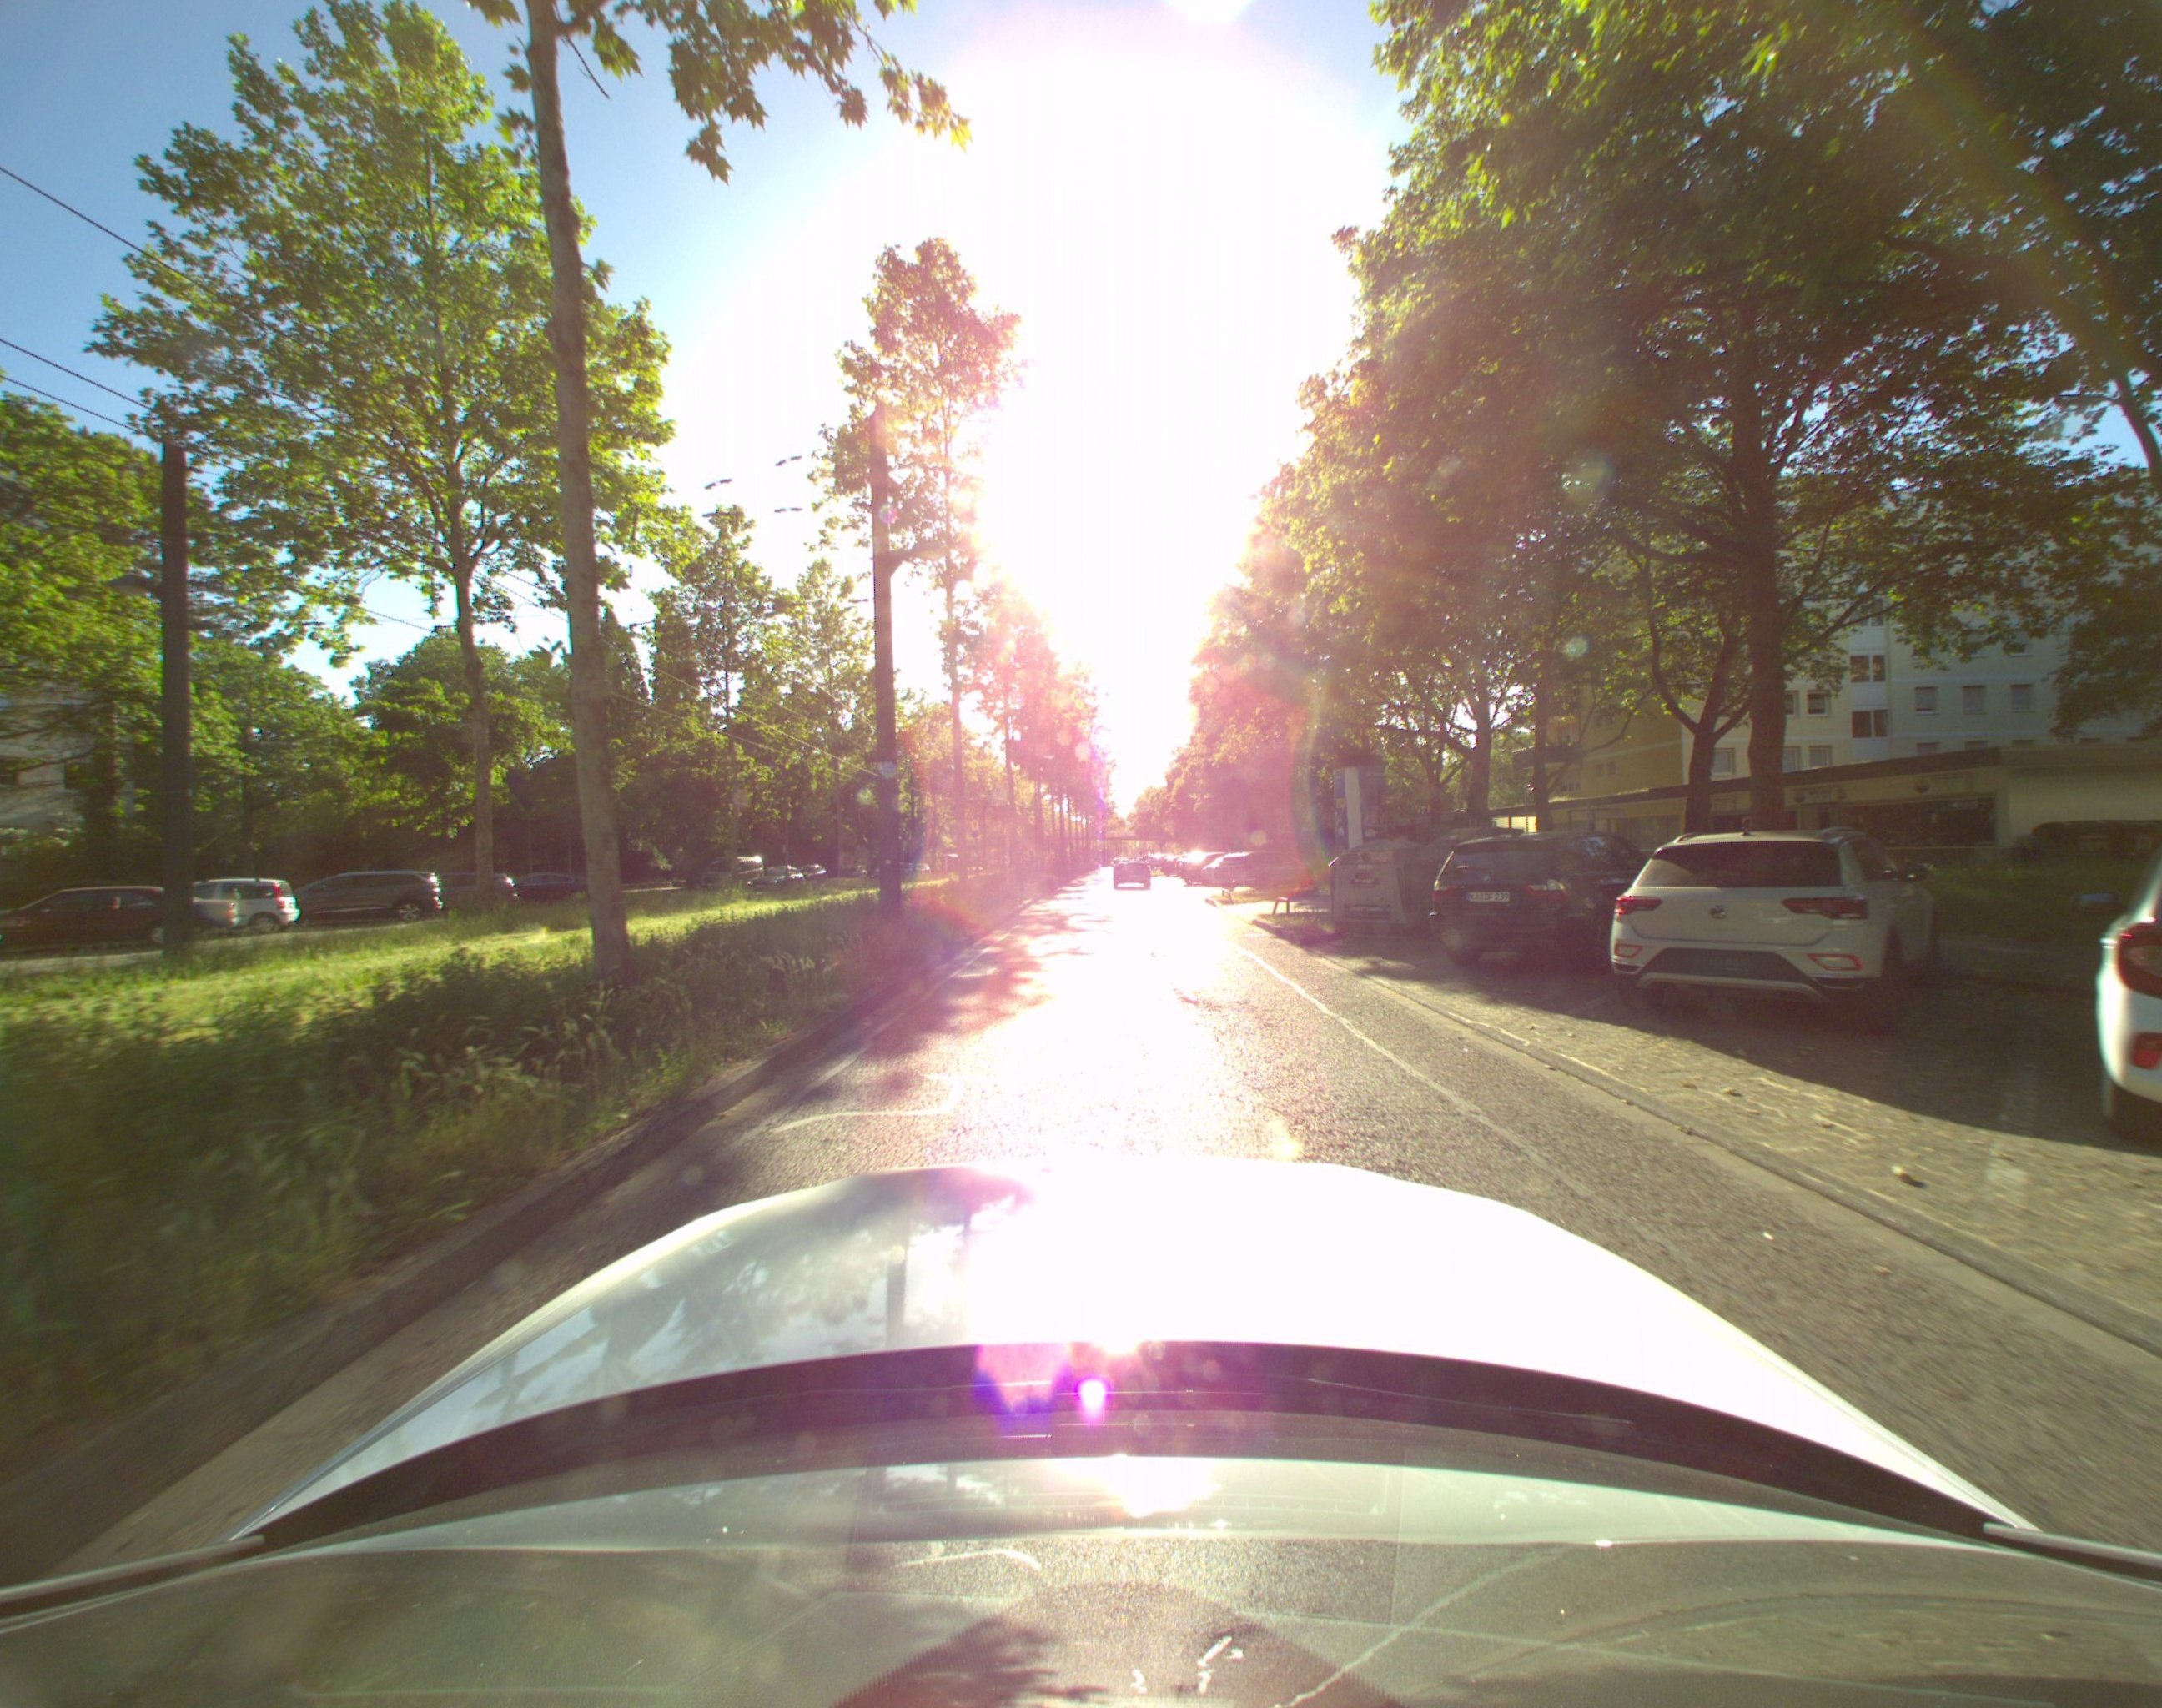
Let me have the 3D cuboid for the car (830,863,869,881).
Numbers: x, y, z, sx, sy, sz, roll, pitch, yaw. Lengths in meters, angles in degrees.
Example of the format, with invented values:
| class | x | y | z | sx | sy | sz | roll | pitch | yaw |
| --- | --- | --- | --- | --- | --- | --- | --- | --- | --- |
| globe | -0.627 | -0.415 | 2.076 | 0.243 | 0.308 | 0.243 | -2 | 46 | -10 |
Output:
| class | x | y | z | sx | sy | sz | roll | pitch | yaw |
| --- | --- | --- | --- | --- | --- | --- | --- | --- | --- |
| car | -20.206 | 1.580 | 71.156 | 1.985 | 1.453 | 4.004 | 1 | 0 | 4 |

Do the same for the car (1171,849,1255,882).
| class | x | y | z | sx | sy | sz | roll | pitch | yaw |
| --- | --- | --- | --- | --- | --- | --- | --- | --- | --- |
| car | 6.742 | 0.558 | 41.367 | 4.353 | 1.424 | 1.834 | -3 | 0 | -42 |

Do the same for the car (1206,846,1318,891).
| class | x | y | z | sx | sy | sz | roll | pitch | yaw |
| --- | --- | --- | --- | --- | --- | --- | --- | --- | --- |
| car | 6.916 | 0.535 | 30.882 | 4.519 | 1.443 | 1.834 | -3 | 0 | -42 |

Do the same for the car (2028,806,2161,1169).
| class | x | y | z | sx | sy | sz | roll | pitch | yaw |
| --- | --- | --- | --- | --- | --- | --- | --- | --- | --- |
| car | 6.661 | 0.508 | 4.519 | 4.107 | 1.582 | 1.760 | -3 | 0 | -41 |

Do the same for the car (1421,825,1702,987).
| class | x | y | z | sx | sy | sz | roll | pitch | yaw |
| --- | --- | --- | --- | --- | --- | --- | --- | --- | --- |
| car | 6.386 | 0.514 | 10.632 | 4.341 | 1.717 | 1.617 | -2 | 0 | -37 |

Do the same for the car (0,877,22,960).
| class | x | y | z | sx | sy | sz | roll | pitch | yaw |
| --- | --- | --- | --- | --- | --- | --- | --- | --- | --- |
| car | -23.648 | 1.363 | 15.471 | 4.000 | 1.675 | 1.766 | -2 | 0 | -41 |

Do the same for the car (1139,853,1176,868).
| class | x | y | z | sx | sy | sz | roll | pitch | yaw |
| --- | --- | --- | --- | --- | --- | --- | --- | --- | --- |
| car | 9.437 | 0.806 | 100.318 | 4.649 | 1.768 | 1.835 | 0 | -1 | -41 |

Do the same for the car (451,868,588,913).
| class | x | y | z | sx | sy | sz | roll | pitch | yaw |
| --- | --- | --- | --- | --- | --- | --- | --- | --- | --- |
| car | -23.250 | 1.472 | 33.827 | 4.511 | 1.568 | 1.774 | -2 | 0 | -41 |

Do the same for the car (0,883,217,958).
| class | x | y | z | sx | sy | sz | roll | pitch | yaw |
| --- | --- | --- | --- | --- | --- | --- | --- | --- | --- |
| car | -23.375 | 1.526 | 19.229 | 3.943 | 1.487 | 1.773 | -2 | 0 | -44 |

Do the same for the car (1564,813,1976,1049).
| class | x | y | z | sx | sy | sz | roll | pitch | yaw |
| --- | --- | --- | --- | --- | --- | --- | --- | --- | --- |
| car | 6.479 | 0.506 | 7.545 | 4.101 | 1.582 | 1.763 | -3 | 0 | -33 |

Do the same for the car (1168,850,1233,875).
| class | x | y | z | sx | sy | sz | roll | pitch | yaw |
| --- | --- | --- | --- | --- | --- | --- | --- | --- | --- |
| car | 8.336 | 0.607 | 56.592 | 4.650 | 1.570 | 1.834 | -2 | -1 | -42 |

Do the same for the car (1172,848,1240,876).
| class | x | y | z | sx | sy | sz | roll | pitch | yaw |
| --- | --- | --- | --- | --- | --- | --- | --- | --- | --- |
| car | 8.184 | 0.503 | 53.087 | 4.651 | 1.570 | 1.834 | -3 | 0 | -43 |

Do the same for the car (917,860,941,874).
| class | x | y | z | sx | sy | sz | roll | pitch | yaw |
| --- | --- | --- | --- | --- | --- | --- | --- | --- | --- |
| car | -17.756 | 1.517 | 95.172 | 1.779 | 1.590 | 4.172 | 1 | 0 | 4 |

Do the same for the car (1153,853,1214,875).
| class | x | y | z | sx | sy | sz | roll | pitch | yaw |
| --- | --- | --- | --- | --- | --- | --- | --- | --- | --- |
| car | 7.542 | 0.721 | 59.607 | 4.651 | 1.459 | 1.955 | -2 | -1 | -44 |

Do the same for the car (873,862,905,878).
| class | x | y | z | sx | sy | sz | roll | pitch | yaw |
| --- | --- | --- | --- | --- | --- | --- | --- | --- | --- |
| car | -19.176 | 1.554 | 81.451 | 1.985 | 1.453 | 4.004 | 1 | 0 | 4 |

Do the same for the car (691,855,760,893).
| class | x | y | z | sx | sy | sz | roll | pitch | yaw |
| --- | --- | --- | --- | --- | --- | --- | --- | --- | --- |
| car | -20.979 | 1.118 | 48.313 | 1.638 | 2.093 | 4.919 | 1 | 0 | 4 |

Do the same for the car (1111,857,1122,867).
| class | x | y | z | sx | sy | sz | roll | pitch | yaw |
| --- | --- | --- | --- | --- | --- | --- | --- | --- | --- |
| car | 5.745 | 1.351 | 131.902 | 1.842 | 1.535 | 3.868 | -2 | 0 | 2 |

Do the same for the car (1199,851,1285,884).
| class | x | y | z | sx | sy | sz | roll | pitch | yaw |
| --- | --- | --- | --- | --- | --- | --- | --- | --- | --- |
| car | 7.630 | 0.607 | 38.390 | 4.353 | 1.297 | 1.671 | -3 | 0 | -42 |

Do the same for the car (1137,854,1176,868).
| class | x | y | z | sx | sy | sz | roll | pitch | yaw |
| --- | --- | --- | --- | --- | --- | --- | --- | --- | --- |
| car | 8.954 | 0.816 | 96.634 | 4.649 | 1.680 | 1.835 | -1 | -1 | -41 |

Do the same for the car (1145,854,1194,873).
| class | x | y | z | sx | sy | sz | roll | pitch | yaw |
| --- | --- | --- | --- | --- | --- | --- | --- | --- | --- |
| car | 8.191 | 0.852 | 75.296 | 4.649 | 1.680 | 1.835 | -1 | -1 | -41 |

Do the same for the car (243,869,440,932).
| class | x | y | z | sx | sy | sz | roll | pitch | yaw |
| --- | --- | --- | --- | --- | --- | --- | --- | --- | --- |
| car | -23.345 | 1.421 | 25.946 | 4.511 | 1.675 | 1.774 | -2 | 0 | -41 |

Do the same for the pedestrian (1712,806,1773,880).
| class | x | y | z | sx | sy | sz | roll | pitch | yaw |
| --- | --- | --- | --- | --- | --- | --- | --- | --- | --- |
| pedestrian | 17.678 | -0.284 | 21.783 | 0.872 | 1.914 | 0.869 | -2 | 0 | -7 |

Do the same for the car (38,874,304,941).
| class | x | y | z | sx | sy | sz | roll | pitch | yaw |
| --- | --- | --- | --- | --- | --- | --- | --- | --- | --- |
| car | -24.294 | 1.369 | 22.020 | 4.505 | 1.481 | 1.600 | -2 | 0 | -35 |

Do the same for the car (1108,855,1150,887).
| class | x | y | z | sx | sy | sz | roll | pitch | yaw |
| --- | --- | --- | --- | --- | --- | --- | --- | --- | --- |
| car | 2.303 | 0.785 | 39.463 | 1.914 | 1.411 | 4.003 | -1 | 0 | 3 |

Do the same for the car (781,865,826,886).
| class | x | y | z | sx | sy | sz | roll | pitch | yaw |
| --- | --- | --- | --- | --- | --- | --- | --- | --- | --- |
| car | -20.526 | 1.597 | 60.414 | 1.864 | 1.453 | 3.578 | 1 | 0 | 4 |

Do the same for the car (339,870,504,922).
| class | x | y | z | sx | sy | sz | roll | pitch | yaw |
| --- | --- | --- | --- | --- | --- | --- | --- | --- | --- |
| car | -23.704 | 1.470 | 29.413 | 4.511 | 1.568 | 1.774 | -2 | 0 | -41 |
